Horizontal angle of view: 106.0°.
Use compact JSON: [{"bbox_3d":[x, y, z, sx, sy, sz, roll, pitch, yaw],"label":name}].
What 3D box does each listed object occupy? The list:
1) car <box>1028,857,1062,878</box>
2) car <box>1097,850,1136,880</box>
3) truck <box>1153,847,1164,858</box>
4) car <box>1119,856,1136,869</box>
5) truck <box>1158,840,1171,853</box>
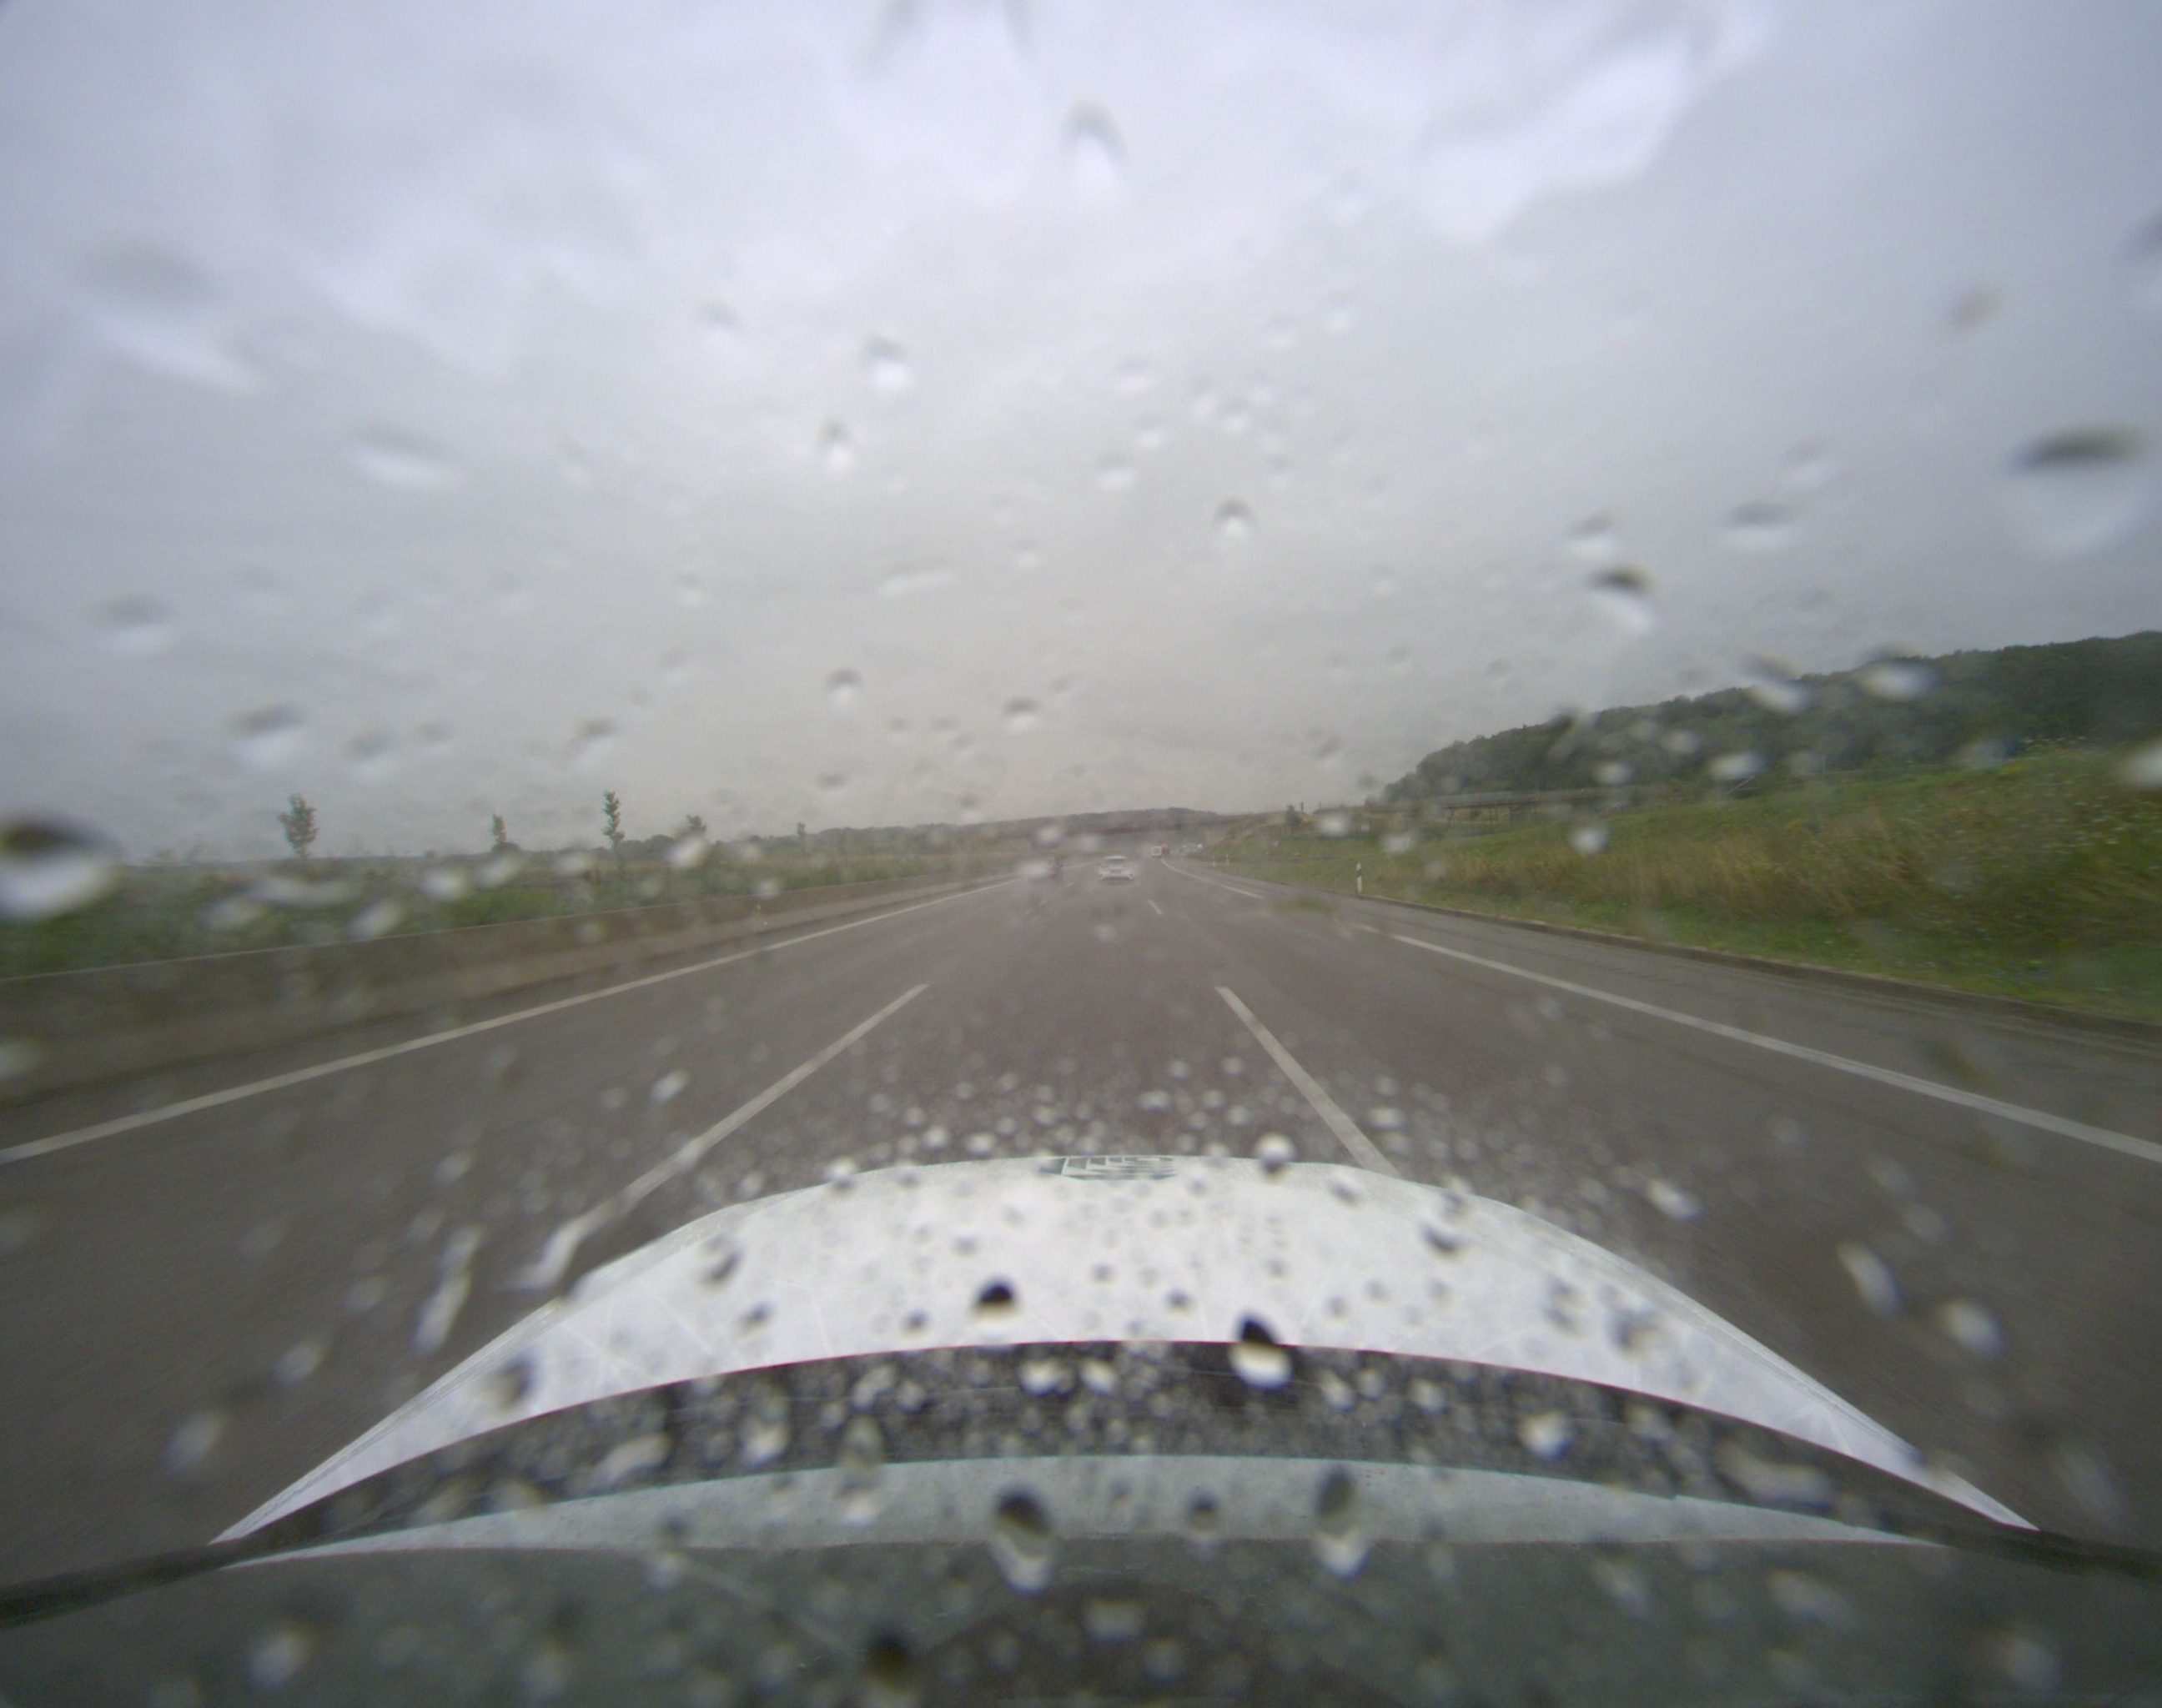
[{"bbox_3d":[-2.007,0.760,46.412,1.818,1.156,4.211,0,-1,-1],"label":"car"},{"bbox_3d":[1.810,0.565,42.666,1.861,1.463,3.999,-1,0,0],"label":"car"},{"bbox_3d":[17.406,-0.350,182.991,2.394,2.252,4.703,-1,0,8],"label":"truck"},{"bbox_3d":[6.092,1.076,106.144,1.984,1.618,4.006,-1,0,5],"label":"car"},{"bbox_3d":[24.225,-2.180,236.987,3.511,3.742,11.439,0,1,4],"label":"truck"}]
